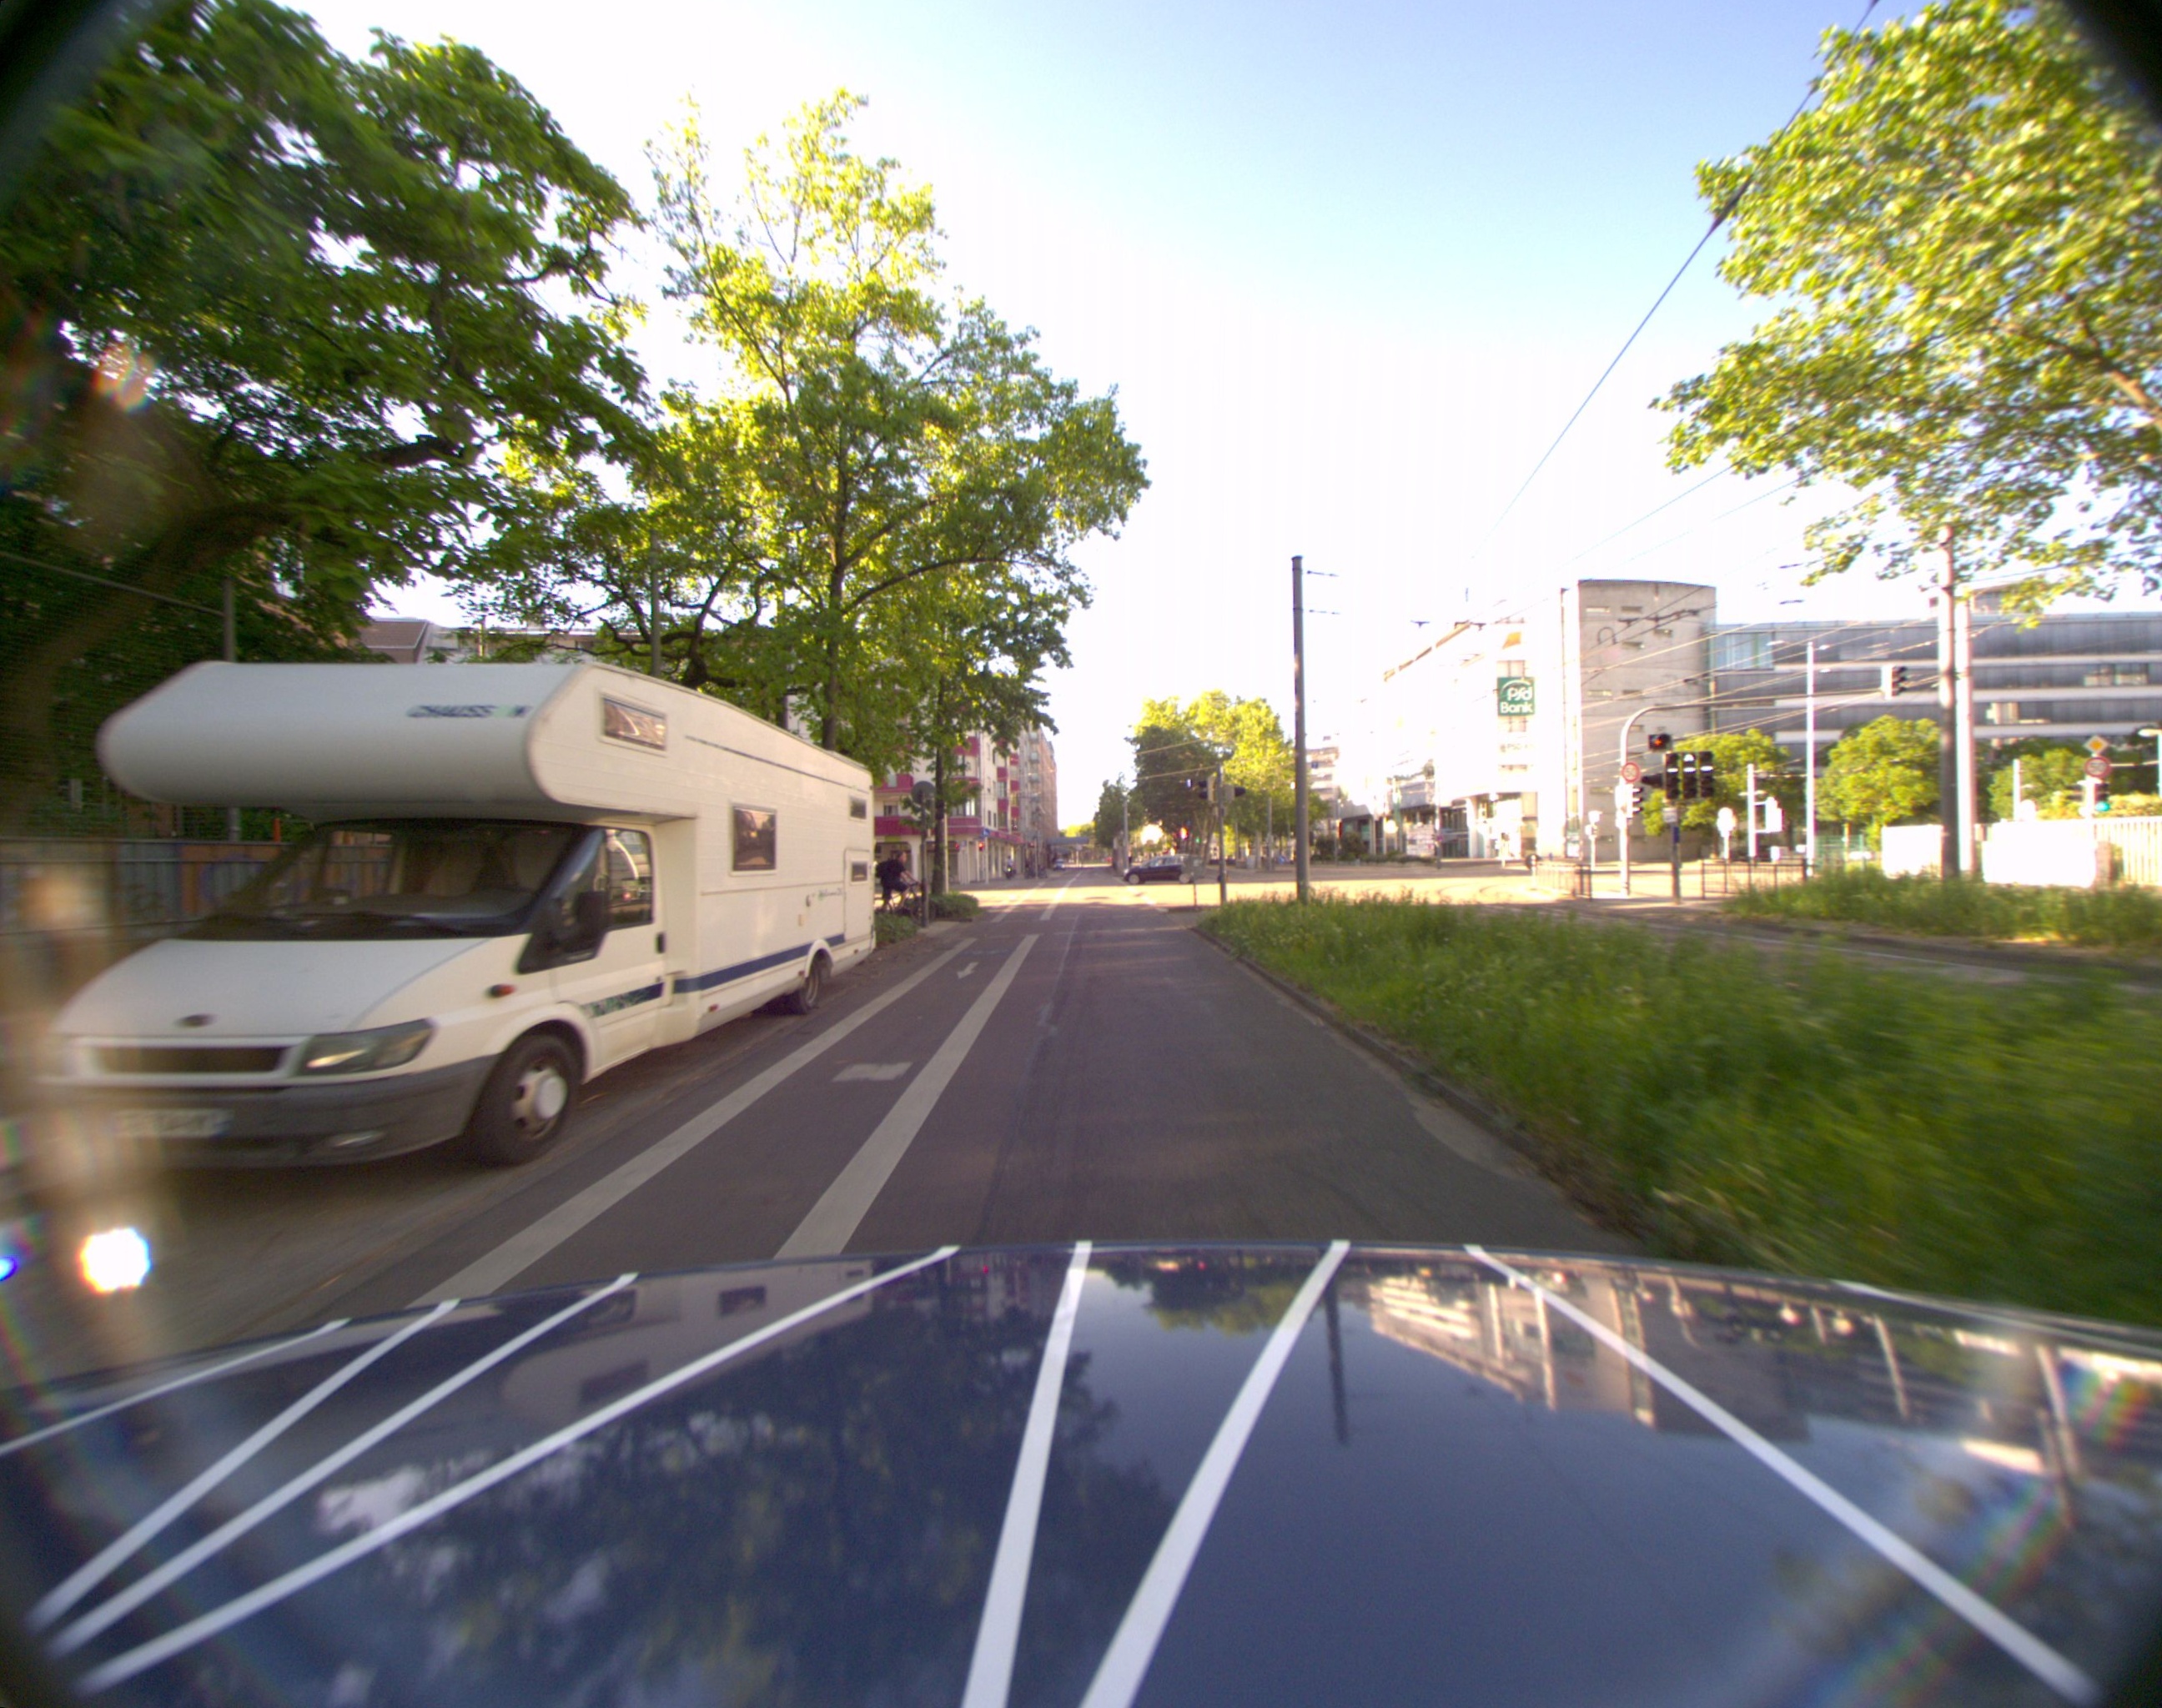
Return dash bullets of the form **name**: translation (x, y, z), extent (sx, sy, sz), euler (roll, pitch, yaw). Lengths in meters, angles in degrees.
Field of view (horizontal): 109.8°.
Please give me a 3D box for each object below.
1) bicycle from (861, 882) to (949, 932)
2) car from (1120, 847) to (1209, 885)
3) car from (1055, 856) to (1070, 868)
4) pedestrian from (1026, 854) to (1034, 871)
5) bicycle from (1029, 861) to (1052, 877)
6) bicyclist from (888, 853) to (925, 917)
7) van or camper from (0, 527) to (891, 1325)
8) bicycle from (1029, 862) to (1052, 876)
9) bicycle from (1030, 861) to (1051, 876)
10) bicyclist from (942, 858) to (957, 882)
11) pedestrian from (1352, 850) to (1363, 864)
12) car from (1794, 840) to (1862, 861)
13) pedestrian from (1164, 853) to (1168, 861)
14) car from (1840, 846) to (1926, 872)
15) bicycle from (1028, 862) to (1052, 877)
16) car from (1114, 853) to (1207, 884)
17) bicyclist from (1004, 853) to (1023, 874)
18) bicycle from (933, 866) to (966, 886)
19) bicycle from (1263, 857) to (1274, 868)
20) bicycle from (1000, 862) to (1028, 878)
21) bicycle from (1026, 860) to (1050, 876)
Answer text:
- **bicycle**: translation (-4.214, 1.246, 18.264), extent (1.953, 1.064, 0.640), euler (-1, 0, -23)
- **car**: translation (4.630, 0.681, 42.013), extent (4.413, 1.936, 2.003), euler (-2, 0, 23)
- **car**: translation (-2.667, 1.099, 108.987), extent (1.837, 1.613, 4.285), euler (1, 0, 2)
- **pedestrian**: translation (-5.378, 0.889, 80.729), extent (0.724, 1.847, 0.801), euler (-1, 0, 1)
- **bicycle**: translation (-3.341, 1.217, 62.465), extent (1.835, 1.213, 0.496), euler (-1, 0, 5)
- **bicyclist**: translation (-4.195, 0.729, 18.266), extent (0.703, 1.501, 0.750), euler (-2, 0, -23)
- **van or camper**: translation (-3.892, 0.289, 6.766), extent (2.381, 3.107, 7.551), euler (1, 0, 1)
- **bicycle**: translation (-3.403, 1.269, 63.972), extent (1.945, 1.163, 0.572), euler (-1, 0, -1)
- **bicycle**: translation (-3.310, 1.210, 61.892), extent (1.626, 1.192, 0.496), euler (-1, 0, 6)
- **bicyclist**: translation (-8.471, 1.004, 48.954), extent (0.882, 1.485, 0.722), euler (-2, 0, -15)
- **pedestrian**: translation (32.161, 0.343, 88.393), extent (0.908, 1.583, 0.767), euler (-1, 0, 1)
- **car**: translation (62.714, -0.270, 63.815), extent (3.950, 1.644, 1.735), euler (-2, 0, 0)
- **pedestrian**: translation (18.766, 0.751, 167.058), extent (0.656, 1.744, 0.676), euler (-2, 0, -6)
- **car**: translation (55.995, 0.357, 53.069), extent (3.969, 1.687, 2.107), euler (-1, 0, -5)
- **bicycle**: translation (-3.410, 1.248, 63.341), extent (1.982, 1.192, 0.591), euler (-1, 0, -3)
- **car**: translation (4.396, 0.817, 42.138), extent (4.744, 1.607, 2.003), euler (-1, 0, 22)
- **bicyclist**: translation (-5.184, 0.730, 58.309), extent (1.062, 1.531, 1.076), euler (-2, 0, -36)
- **bicycle**: translation (-8.473, 1.401, 48.955), extent (2.044, 1.182, 0.590), euler (-2, 0, -15)
- **bicycle**: translation (17.746, 0.811, 72.101), extent (0.814, 0.940, 1.727), euler (-2, 0, 8)
- **bicycle**: translation (-5.162, 1.251, 58.307), extent (0.965, 1.176, 2.591), euler (-1, 0, -36)
- **bicycle**: translation (-3.465, 1.135, 61.153), extent (1.805, 1.193, 0.546), euler (-1, 1, 6)
